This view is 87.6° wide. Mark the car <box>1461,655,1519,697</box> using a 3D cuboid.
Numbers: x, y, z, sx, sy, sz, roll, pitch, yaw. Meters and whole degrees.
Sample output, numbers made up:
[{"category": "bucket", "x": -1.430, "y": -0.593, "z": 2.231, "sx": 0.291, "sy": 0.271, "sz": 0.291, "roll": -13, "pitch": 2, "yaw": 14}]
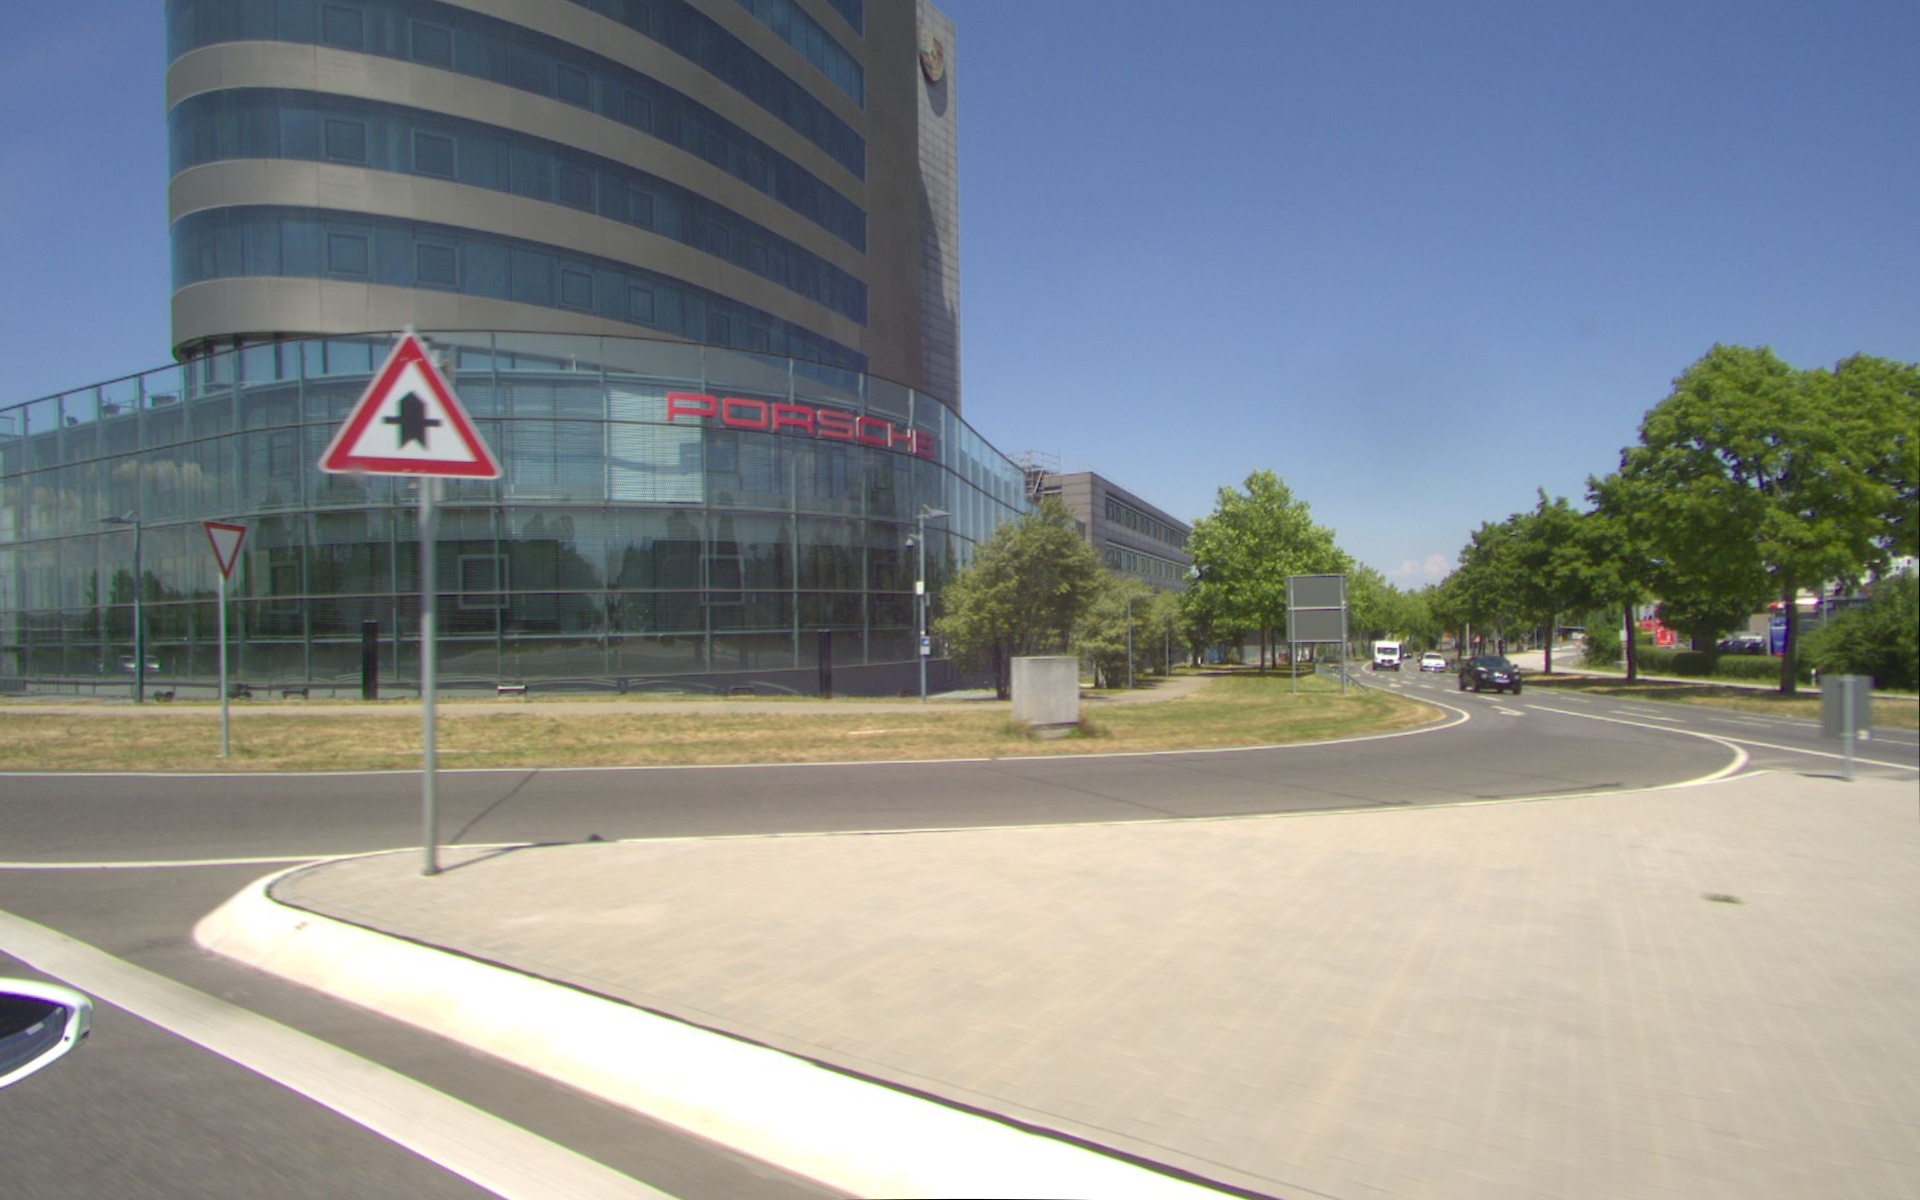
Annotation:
[{"category": "car", "x": 22.150, "y": 3.151, "z": 41.989, "sx": 1.638, "sy": 1.609, "sz": 3.995, "roll": 0, "pitch": -3, "yaw": 20}]

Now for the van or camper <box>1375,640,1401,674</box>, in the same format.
[{"category": "van or camper", "x": 35.929, "y": 4.769, "z": 84.060, "sx": 1.967, "sy": 2.715, "sz": 3.991, "roll": 0, "pitch": -3, "yaw": 24}]

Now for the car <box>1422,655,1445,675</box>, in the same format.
[{"category": "car", "x": 40.939, "y": 5.610, "z": 86.588, "sx": 1.709, "sy": 1.682, "sz": 3.990, "roll": 0, "pitch": -3, "yaw": 25}]
